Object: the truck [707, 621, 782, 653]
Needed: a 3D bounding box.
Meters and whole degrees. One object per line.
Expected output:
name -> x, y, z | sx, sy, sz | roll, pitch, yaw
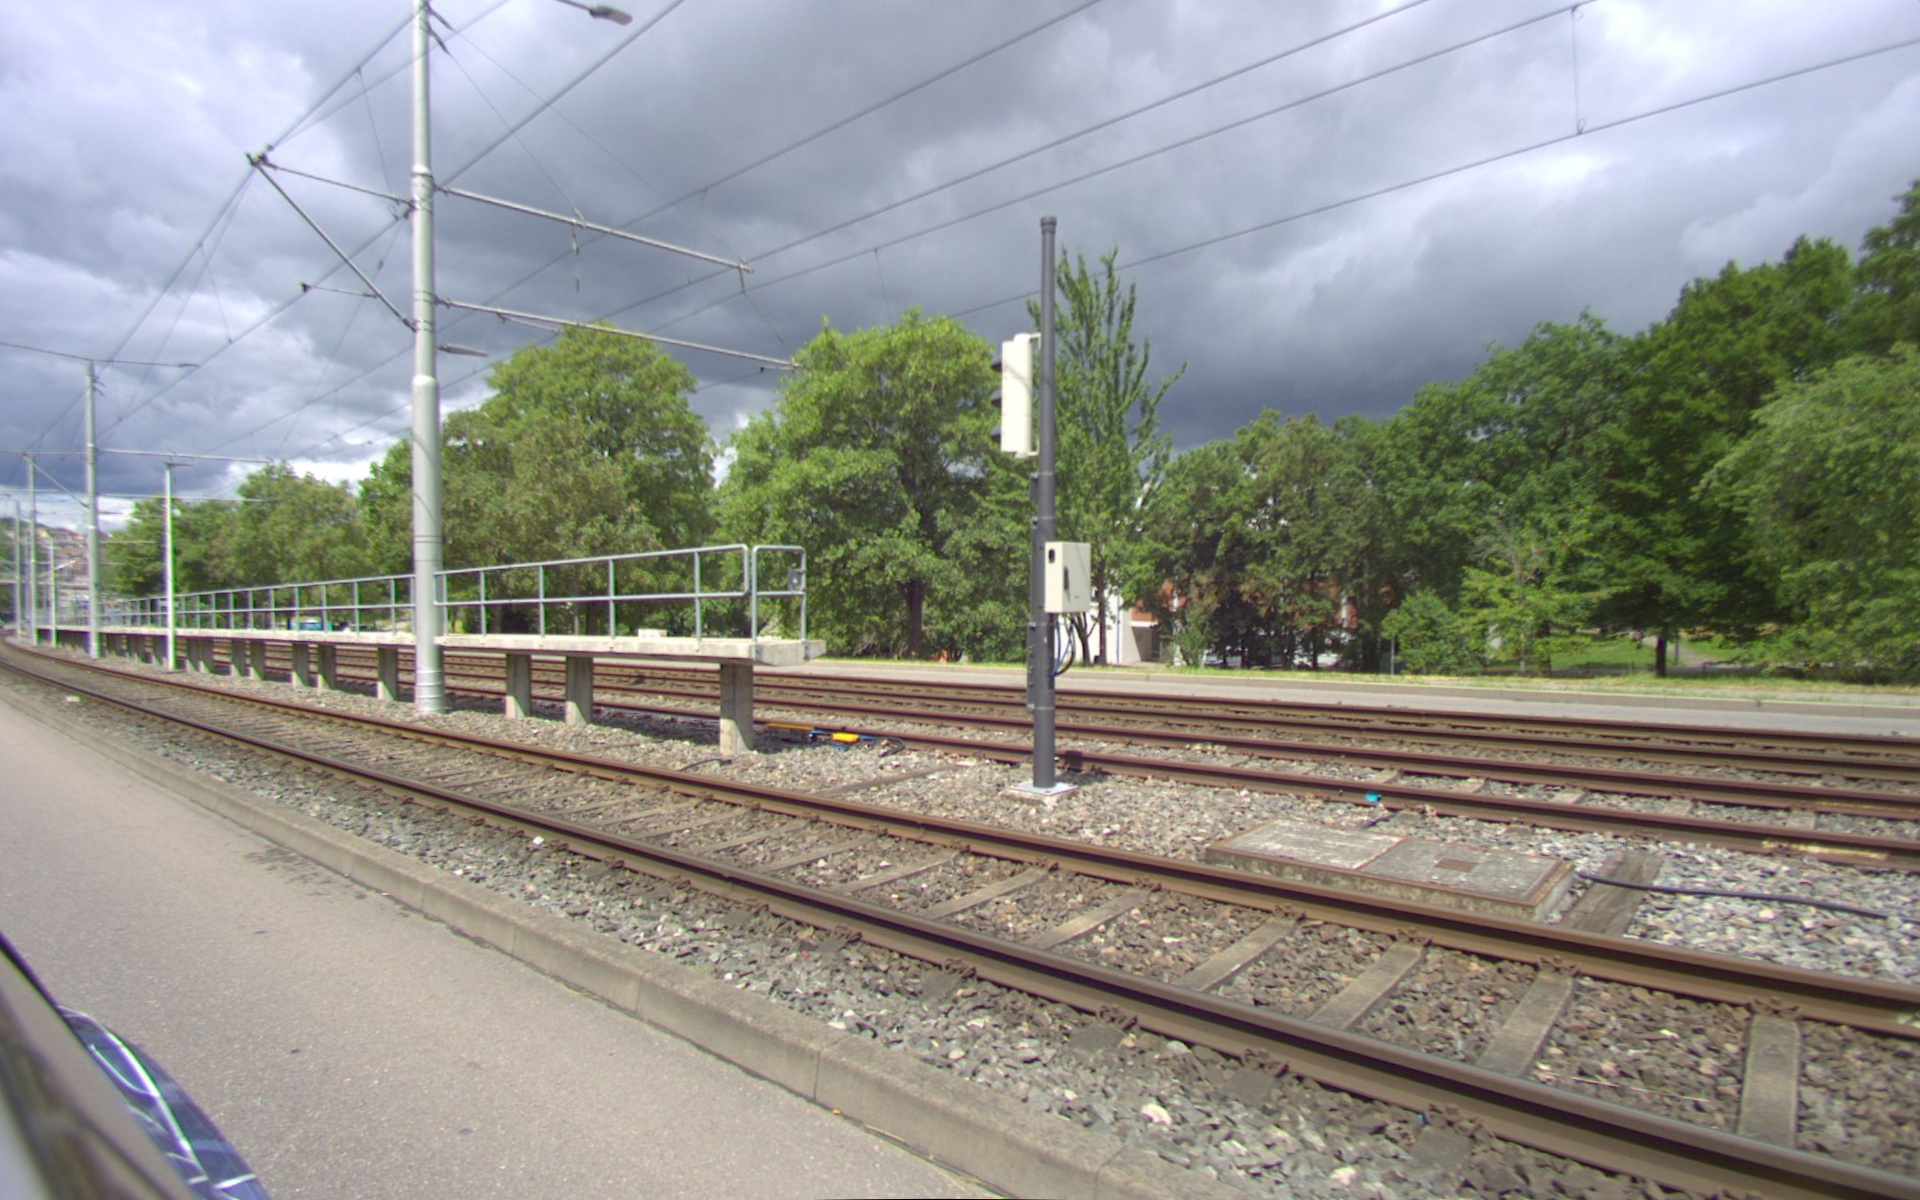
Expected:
truck -> -20.358, 3.525, 95.943 | 6.524, 2.877, 2.682 | 2, -3, -44
